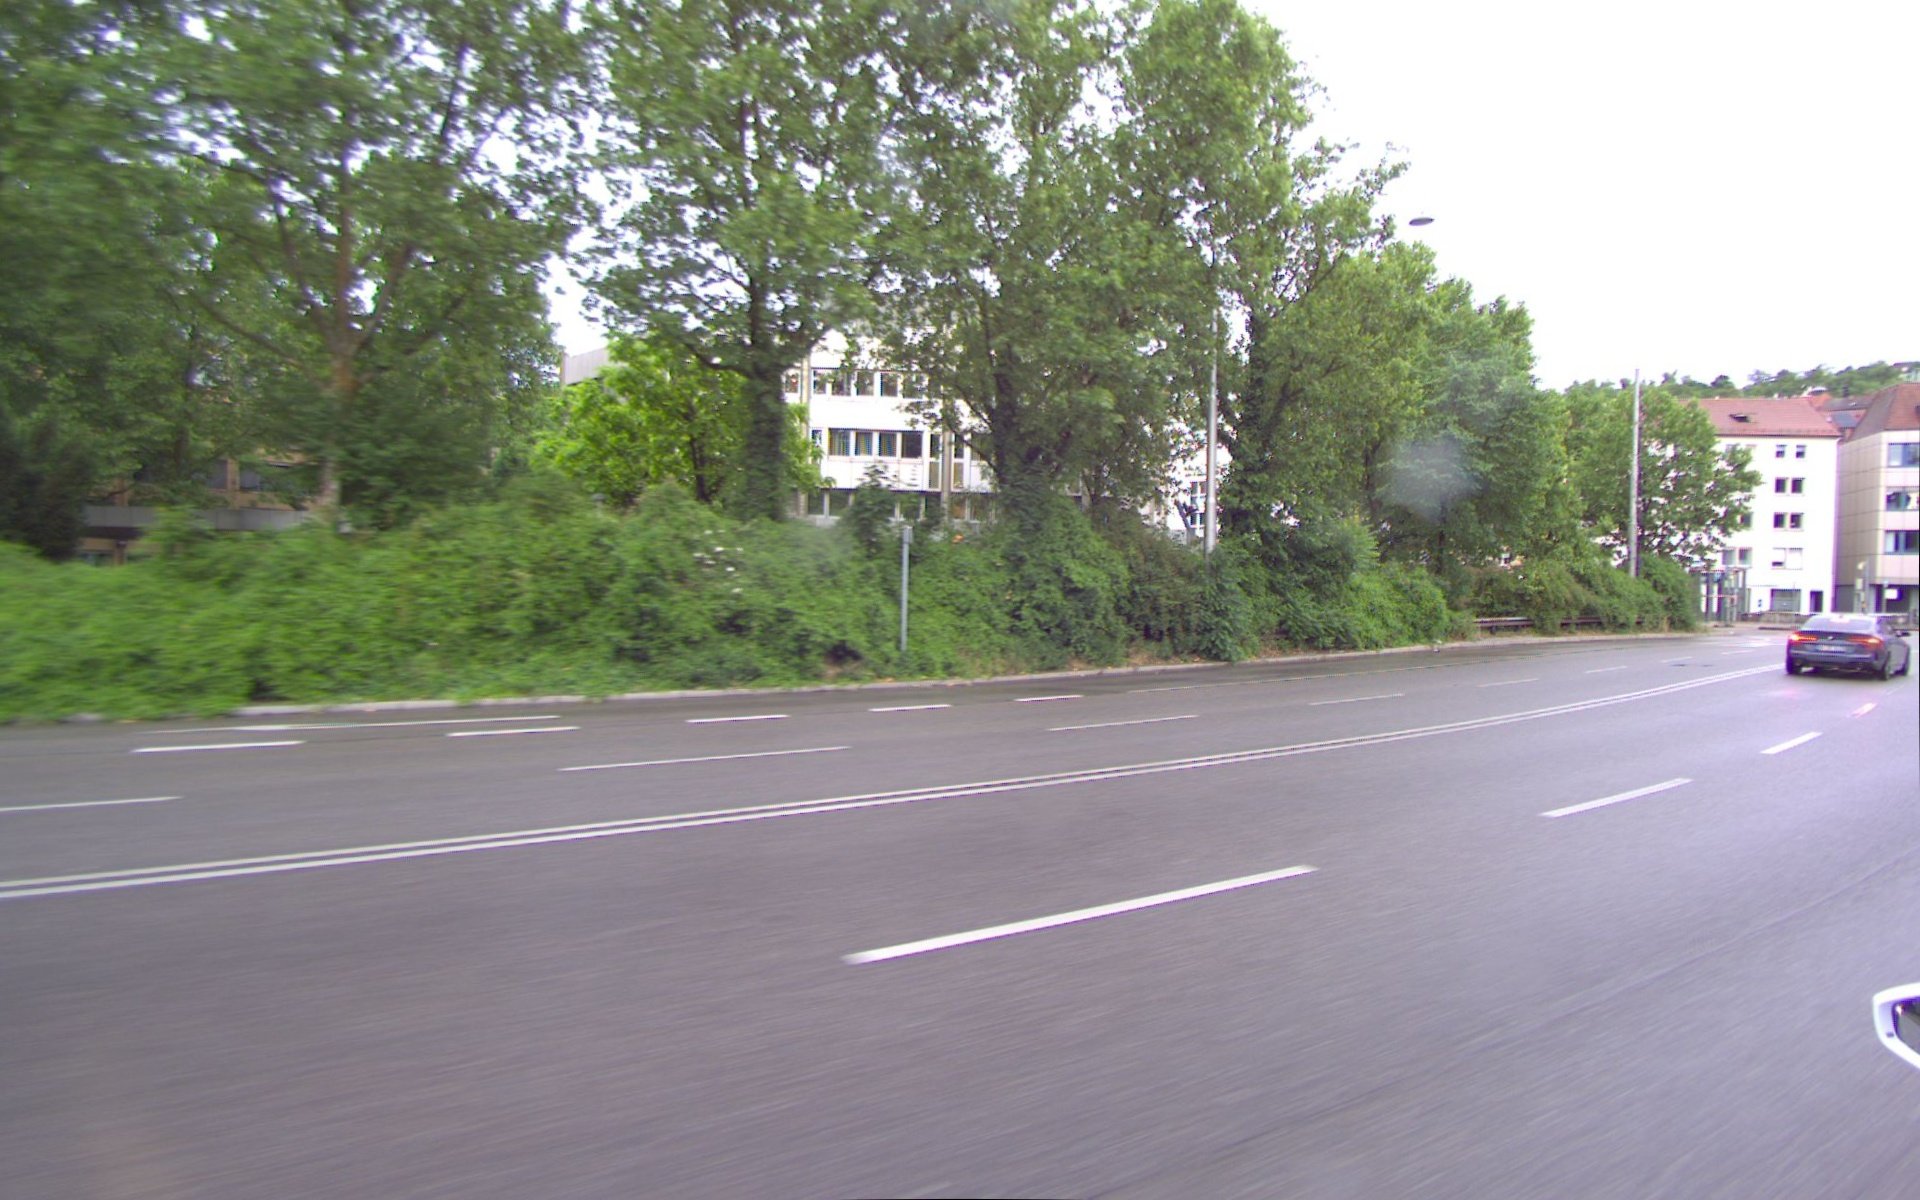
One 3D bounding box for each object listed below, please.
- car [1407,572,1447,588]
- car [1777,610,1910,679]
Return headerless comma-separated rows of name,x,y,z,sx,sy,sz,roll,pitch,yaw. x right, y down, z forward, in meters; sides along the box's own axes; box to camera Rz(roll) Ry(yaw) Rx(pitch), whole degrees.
car,49.258,-2.088,105.983,1.732,1.612,3.784,1,0,-16
car,21.110,0.984,23.949,4.349,1.446,1.775,0,1,-41
